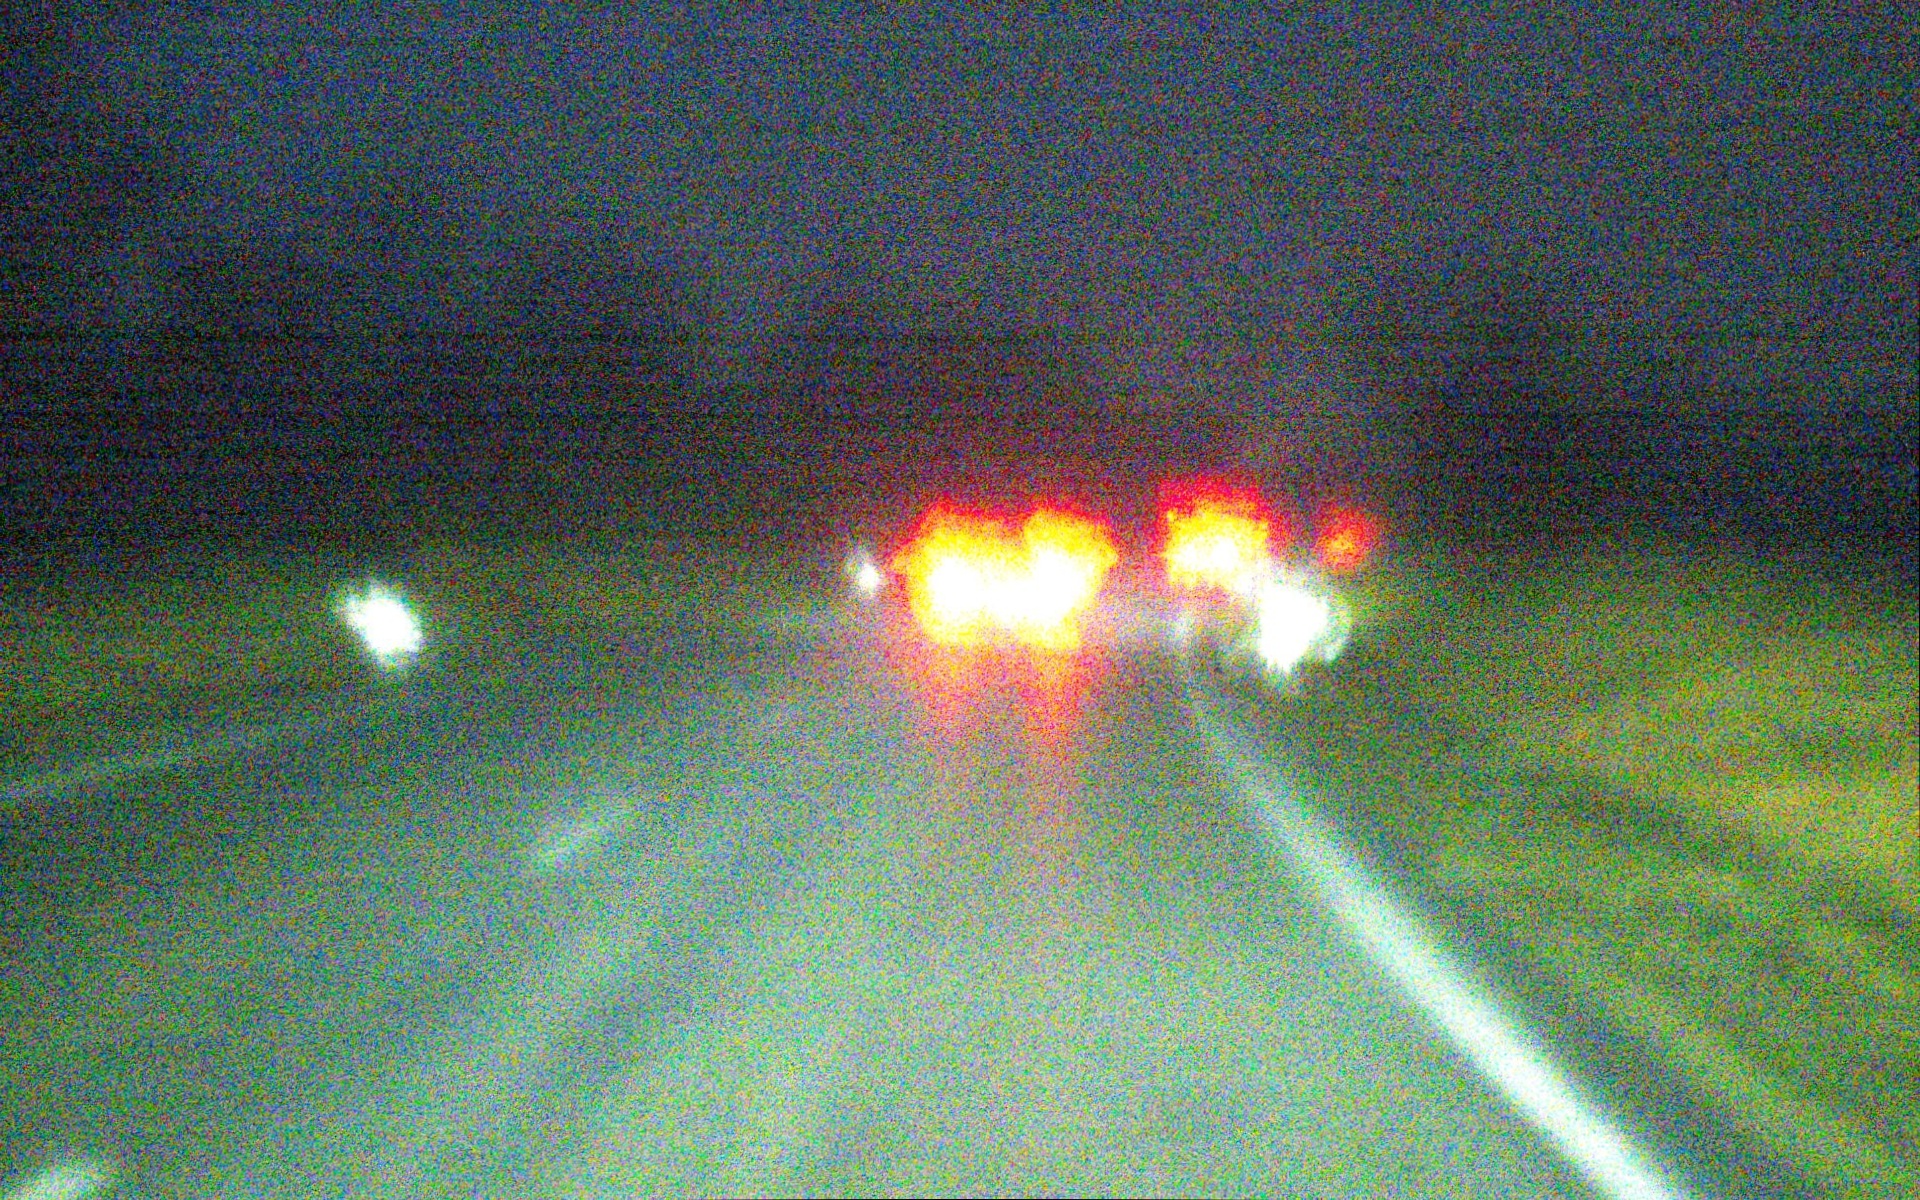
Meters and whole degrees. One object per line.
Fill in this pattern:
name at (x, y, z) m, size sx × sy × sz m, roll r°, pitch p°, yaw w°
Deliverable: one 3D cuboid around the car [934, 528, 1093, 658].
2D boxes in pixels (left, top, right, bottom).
car at (0.788, -0.126, 48.063) m, size 1.843 × 1.734 × 3.999 m, roll 0°, pitch 1°, yaw 6°
